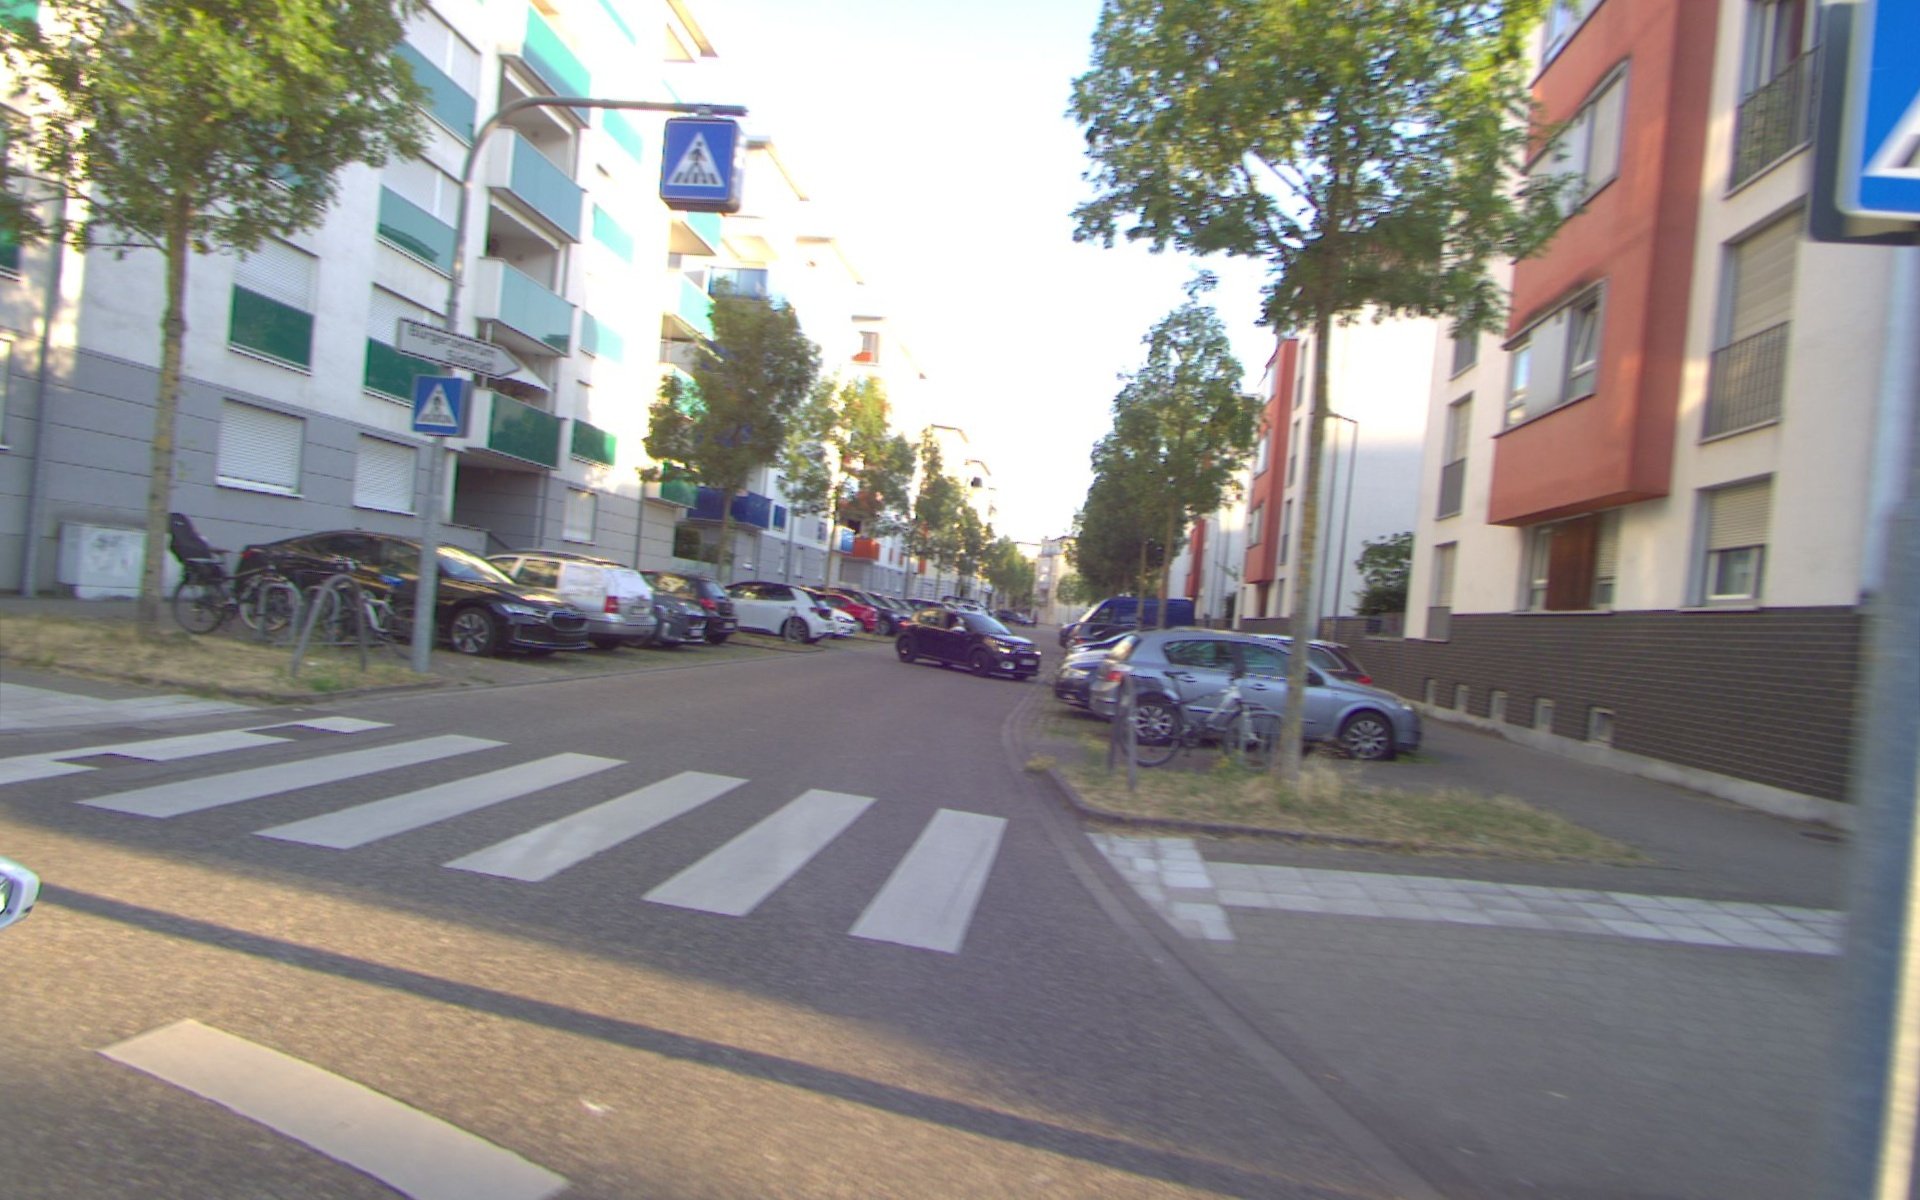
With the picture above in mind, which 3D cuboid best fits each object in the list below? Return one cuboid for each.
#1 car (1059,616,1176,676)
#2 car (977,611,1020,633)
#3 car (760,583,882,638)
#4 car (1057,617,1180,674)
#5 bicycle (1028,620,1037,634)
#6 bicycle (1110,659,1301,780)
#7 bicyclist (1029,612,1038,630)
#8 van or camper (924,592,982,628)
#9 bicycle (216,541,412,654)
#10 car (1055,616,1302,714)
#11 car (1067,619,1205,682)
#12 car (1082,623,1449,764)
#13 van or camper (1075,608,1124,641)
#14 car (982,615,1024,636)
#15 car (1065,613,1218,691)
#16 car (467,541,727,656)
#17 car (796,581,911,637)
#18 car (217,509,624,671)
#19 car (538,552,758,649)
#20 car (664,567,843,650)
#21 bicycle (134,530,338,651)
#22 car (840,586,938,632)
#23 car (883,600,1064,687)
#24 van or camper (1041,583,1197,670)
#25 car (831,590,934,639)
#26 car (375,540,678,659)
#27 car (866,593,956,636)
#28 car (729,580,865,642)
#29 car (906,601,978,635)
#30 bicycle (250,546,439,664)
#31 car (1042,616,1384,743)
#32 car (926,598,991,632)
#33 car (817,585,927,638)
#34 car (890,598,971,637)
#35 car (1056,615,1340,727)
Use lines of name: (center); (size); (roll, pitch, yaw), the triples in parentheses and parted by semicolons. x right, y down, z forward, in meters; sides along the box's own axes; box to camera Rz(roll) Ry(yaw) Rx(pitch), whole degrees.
car: (5.934, 1.721, 38.270); (4.028, 1.645, 1.724); (8, 0, 3)
car: (4.000, 2.287, 104.580); (4.174, 1.658, 1.694); (8, 0, 8)
car: (-5.024, 0.395, 36.619); (4.028, 1.378, 1.666); (8, 0, 3)
car: (5.562, 1.586, 35.634); (4.026, 1.646, 1.724); (5, 0, 3)
bicycle: (7.140, 2.658, 98.983); (0.757, 1.282, 1.783); (5, -1, 6)
bicycle: (2.466, 1.195, 10.248); (1.787, 1.080, 0.567); (3, 0, 5)
bicyclist: (7.218, 2.076, 99.128); (0.753, 1.647, 0.663); (5, 0, 6)
van or camper: (-0.523, 0.787, 79.267); (4.174, 2.237, 1.693); (8, 0, 7)
bicycle: (-7.824, -0.024, 12.217); (1.997, 1.058, 0.473); (8, 0, 3)
car: (4.385, 1.299, 20.772); (4.671, 1.605, 1.759); (4, -1, 3)
car: (5.283, 1.498, 30.562); (3.846, 1.534, 1.724); (5, 0, 3)
car: (3.745, 1.133, 12.939); (4.211, 1.476, 1.681); (2, -1, 5)
van or camper: (13.173, 2.324, 95.142); (4.174, 2.566, 1.761); (8, 0, 8)
car: (4.657, 2.738, 107.820); (4.174, 1.635, 1.694); (8, 0, 8)
car: (4.953, 1.411, 27.803); (3.846, 1.732, 1.724); (5, 0, 3)
car: (-6.894, -0.021, 19.333); (4.215, 1.512, 1.743); (8, 0, 7)
car: (-4.073, 0.347, 38.908); (4.028, 1.527, 1.666); (8, 0, 3)
car: (-7.561, -0.134, 14.309); (4.798, 1.475, 1.939); (8, 0, 9)
car: (-6.833, 0.021, 22.101); (4.215, 1.475, 1.743); (8, 0, 16)
car: (-5.433, 0.229, 26.806); (4.216, 1.526, 1.686); (8, 0, 4)
bicycle: (-7.961, -0.093, 11.098); (1.760, 1.054, 0.567); (8, 0, 3)
car: (-3.266, 0.421, 46.762); (4.175, 1.527, 1.752); (8, 0, 3)
car: (0.257, 1.027, 24.484); (4.120, 1.480, 1.770); (8, 0, 42)
van or camper: (6.745, 1.139, 43.394); (6.197, 3.126, 2.443); (5, 0, 3)
car: (-3.356, 0.636, 44.199); (4.175, 1.527, 1.752); (8, 0, 3)
car: (-7.207, 0.002, 16.891); (4.331, 1.526, 1.744); (5, -1, 10)
car: (-2.499, 0.741, 51.402); (4.174, 1.555, 1.694); (8, 0, 8)
car: (-5.133, 0.353, 32.021); (3.848, 1.361, 1.724); (8, 0, 3)
car: (-1.110, 1.149, 63.641); (4.174, 1.555, 1.694); (8, 0, 8)
bicycle: (-7.085, 0.059, 11.614); (1.806, 1.085, 0.473); (8, 0, 3)
car: (3.743, 1.169, 15.562); (4.824, 1.496, 1.712); (4, -1, 5)
car: (-0.096, 1.068, 71.269); (4.174, 1.800, 1.694); (8, 0, 8)
car: (-3.624, 0.489, 41.757); (4.175, 1.527, 1.752); (8, 0, 3)
car: (-1.623, 0.988, 56.631); (4.174, 1.555, 1.694); (8, 0, 8)
car: (4.215, 1.232, 18.258); (4.696, 1.574, 1.712); (4, -1, 11)
